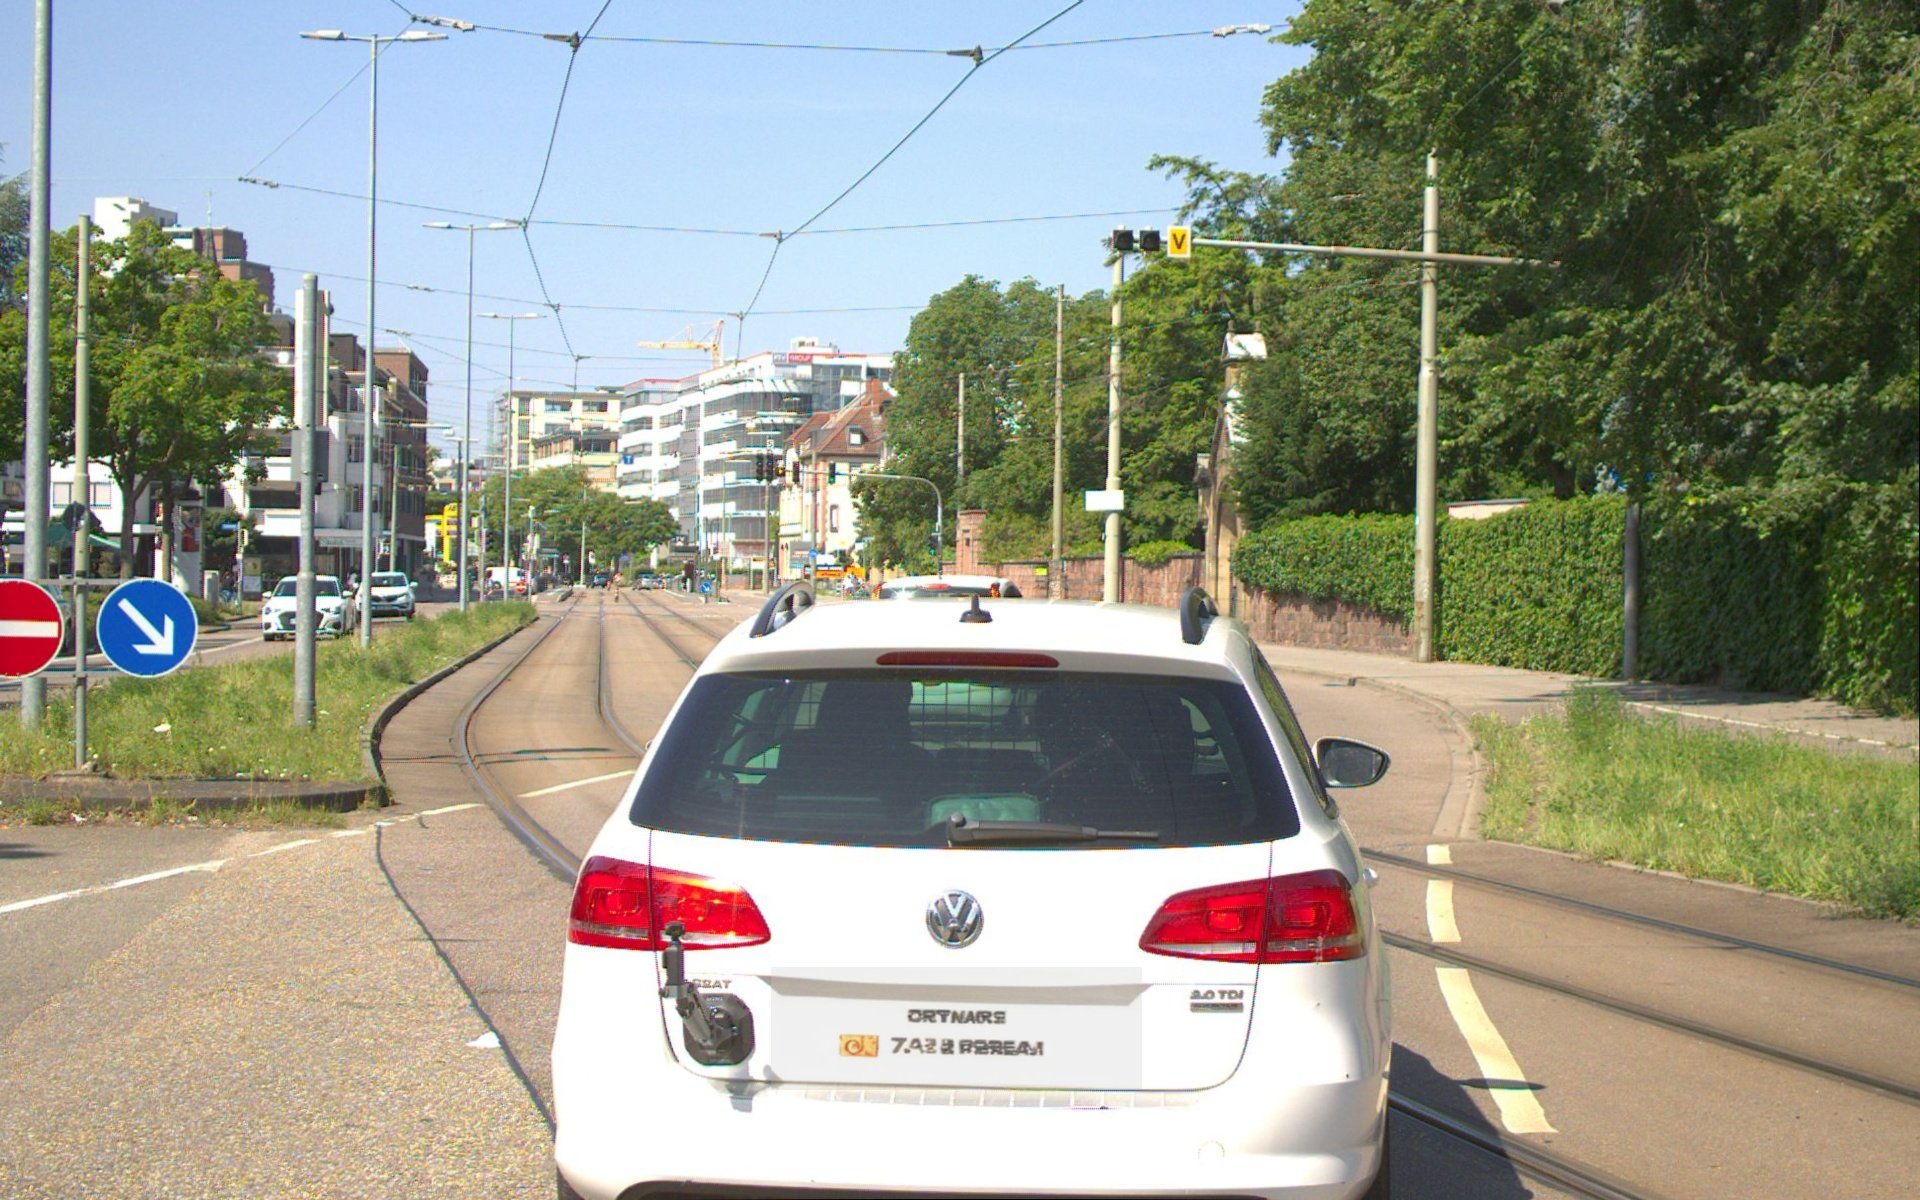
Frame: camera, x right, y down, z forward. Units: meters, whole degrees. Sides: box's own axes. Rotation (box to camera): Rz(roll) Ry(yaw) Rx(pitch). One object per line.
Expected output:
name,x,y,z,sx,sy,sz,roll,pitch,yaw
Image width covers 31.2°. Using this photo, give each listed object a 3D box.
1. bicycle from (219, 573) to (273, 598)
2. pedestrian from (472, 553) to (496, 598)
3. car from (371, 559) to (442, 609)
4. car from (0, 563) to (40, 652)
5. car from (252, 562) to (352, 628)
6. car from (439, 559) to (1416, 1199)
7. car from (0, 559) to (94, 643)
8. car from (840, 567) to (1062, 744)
bicycle,-26.858,-0.549,129.357,0.553,0.918,2.172,1,1,38
pedestrian,-18.138,-0.935,130.974,0.826,1.733,0.932,0,1,-13
car,-18.054,-0.539,112.305,2.043,1.592,4.661,0,1,-6
car,-17.153,0.099,60.130,1.291,1.485,4.352,2,1,-6
car,-14.678,-0.139,76.895,1.791,1.418,4.336,0,1,-5
car,0.065,0.651,8.189,1.779,1.485,3.846,0,1,4
car,-17.723,-0.007,65.334,1.604,1.485,4.618,2,1,-4
car,-0.024,0.503,34.111,1.731,1.591,4.010,2,1,6
